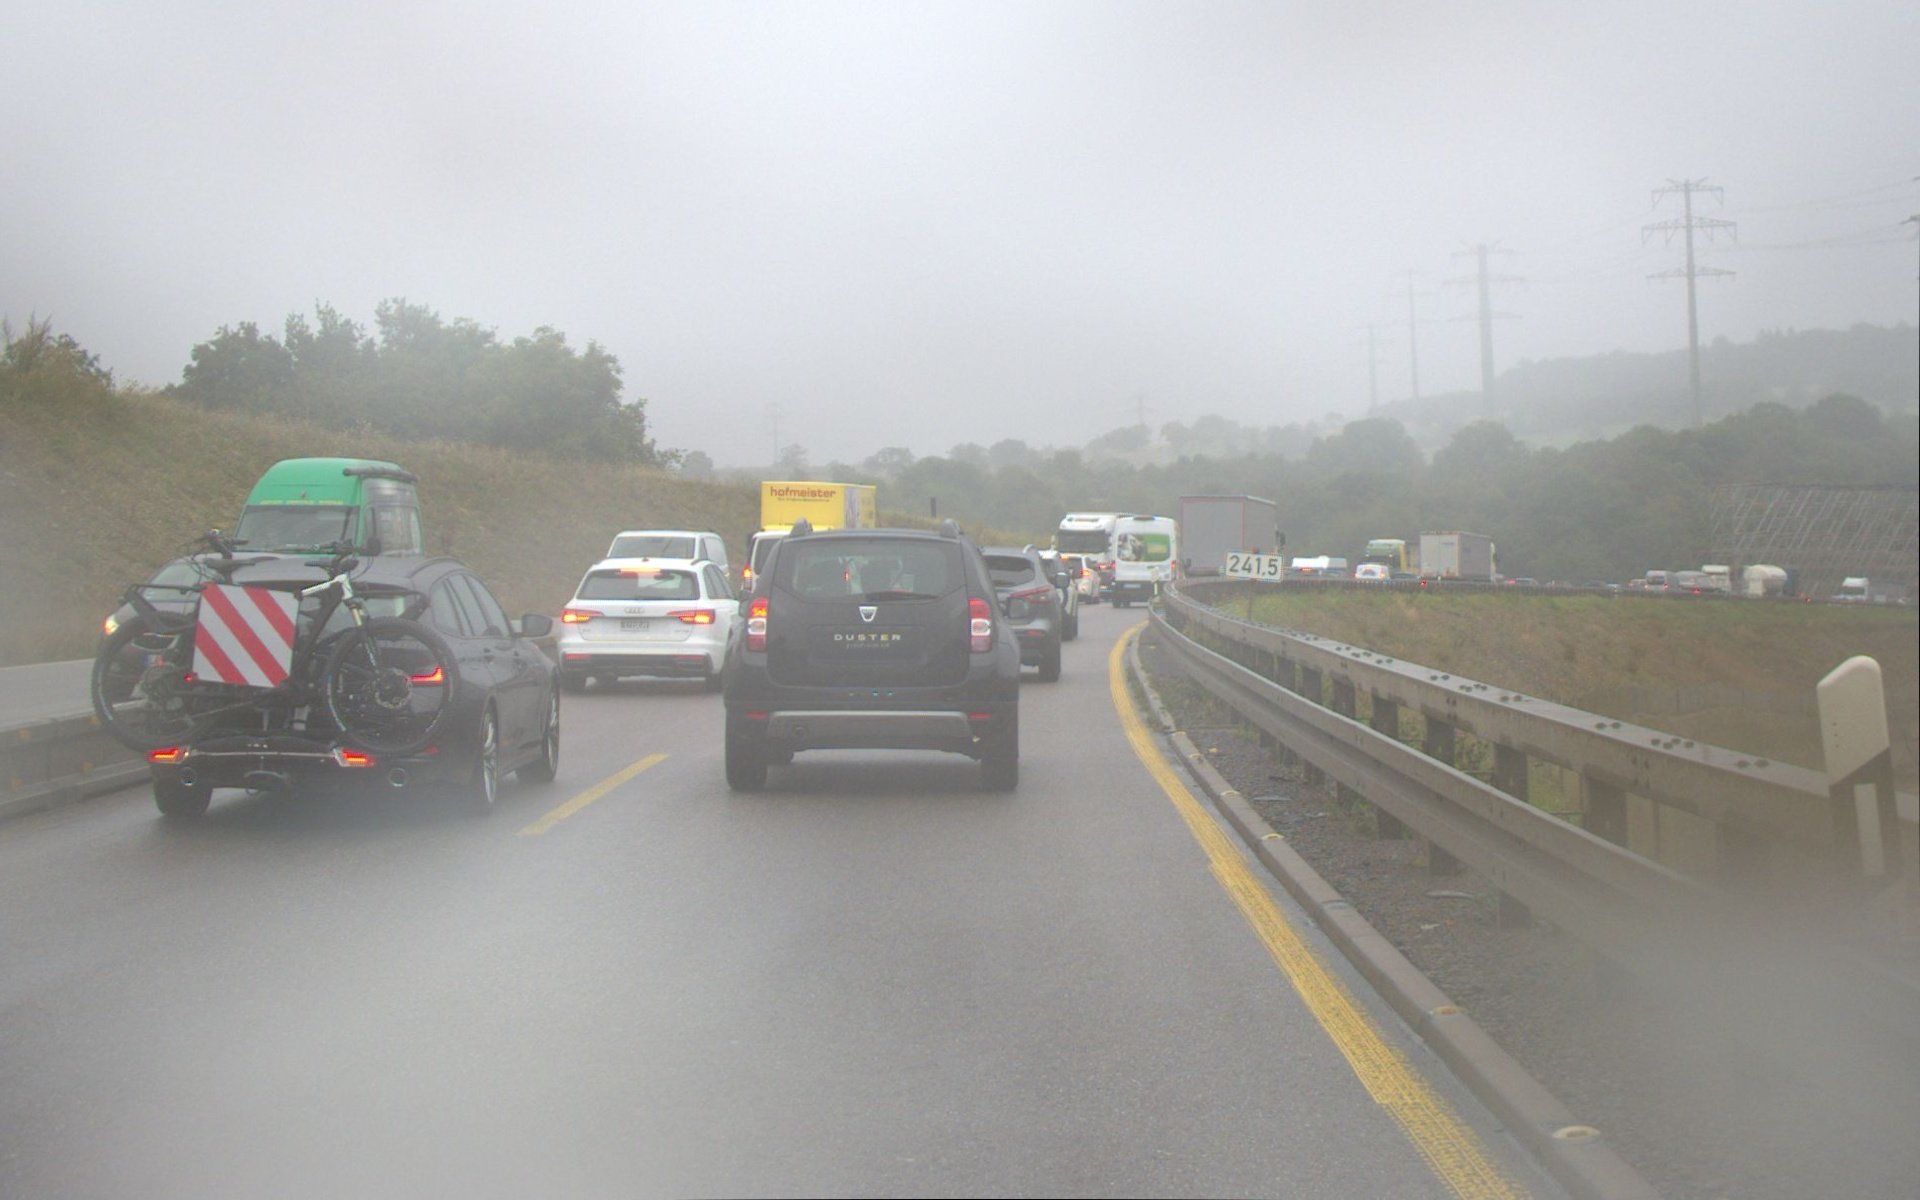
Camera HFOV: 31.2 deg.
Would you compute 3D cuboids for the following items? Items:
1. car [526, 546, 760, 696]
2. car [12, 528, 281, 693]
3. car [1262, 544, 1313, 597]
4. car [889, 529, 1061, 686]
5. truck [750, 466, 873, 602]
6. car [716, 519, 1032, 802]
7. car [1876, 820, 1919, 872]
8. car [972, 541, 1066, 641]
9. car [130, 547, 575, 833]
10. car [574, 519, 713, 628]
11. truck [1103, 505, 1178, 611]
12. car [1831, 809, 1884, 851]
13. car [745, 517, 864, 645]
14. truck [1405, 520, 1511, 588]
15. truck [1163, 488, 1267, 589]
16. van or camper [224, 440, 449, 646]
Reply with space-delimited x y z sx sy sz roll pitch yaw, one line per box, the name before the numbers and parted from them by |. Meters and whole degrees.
car | -3.332 0.176 36.949 1.868 1.455 4.548 1 1 3
car | -8.160 0.063 34.818 1.713 1.531 4.046 1 1 0
car | 12.299 -1.122 128.963 1.775 1.909 3.999 2 1 7
car | 0.219 0.055 40.193 1.867 1.702 4.000 1 1 2
truck | -4.486 -2.026 105.735 2.769 3.983 8.421 1 1 4
car | -0.464 0.331 21.997 1.804 1.640 3.776 0 1 2
car | 43.627 11.272 157.509 2.365 2.007 4.000 1 1 4
car | 1.032 -0.188 59.493 1.530 1.635 4.013 1 1 1
car | -3.358 0.442 19.690 1.829 1.471 3.776 0 1 1
car | -5.802 -0.516 63.552 2.000 1.880 5.274 1 1 0
truck | 5.655 -1.317 106.886 2.149 3.155 6.459 1 1 4
car | 45.666 11.703 174.979 1.994 1.809 3.999 1 1 6
car | -2.393 -0.316 53.540 1.660 1.873 4.020 1 1 0
truck | 32.567 -2.973 224.184 4.721 4.135 15.671 2 1 16
truck | 9.990 -2.366 133.752 3.202 3.748 8.506 2 1 9
van or camper | -9.108 -0.839 50.763 2.100 2.808 5.943 1 1 1
